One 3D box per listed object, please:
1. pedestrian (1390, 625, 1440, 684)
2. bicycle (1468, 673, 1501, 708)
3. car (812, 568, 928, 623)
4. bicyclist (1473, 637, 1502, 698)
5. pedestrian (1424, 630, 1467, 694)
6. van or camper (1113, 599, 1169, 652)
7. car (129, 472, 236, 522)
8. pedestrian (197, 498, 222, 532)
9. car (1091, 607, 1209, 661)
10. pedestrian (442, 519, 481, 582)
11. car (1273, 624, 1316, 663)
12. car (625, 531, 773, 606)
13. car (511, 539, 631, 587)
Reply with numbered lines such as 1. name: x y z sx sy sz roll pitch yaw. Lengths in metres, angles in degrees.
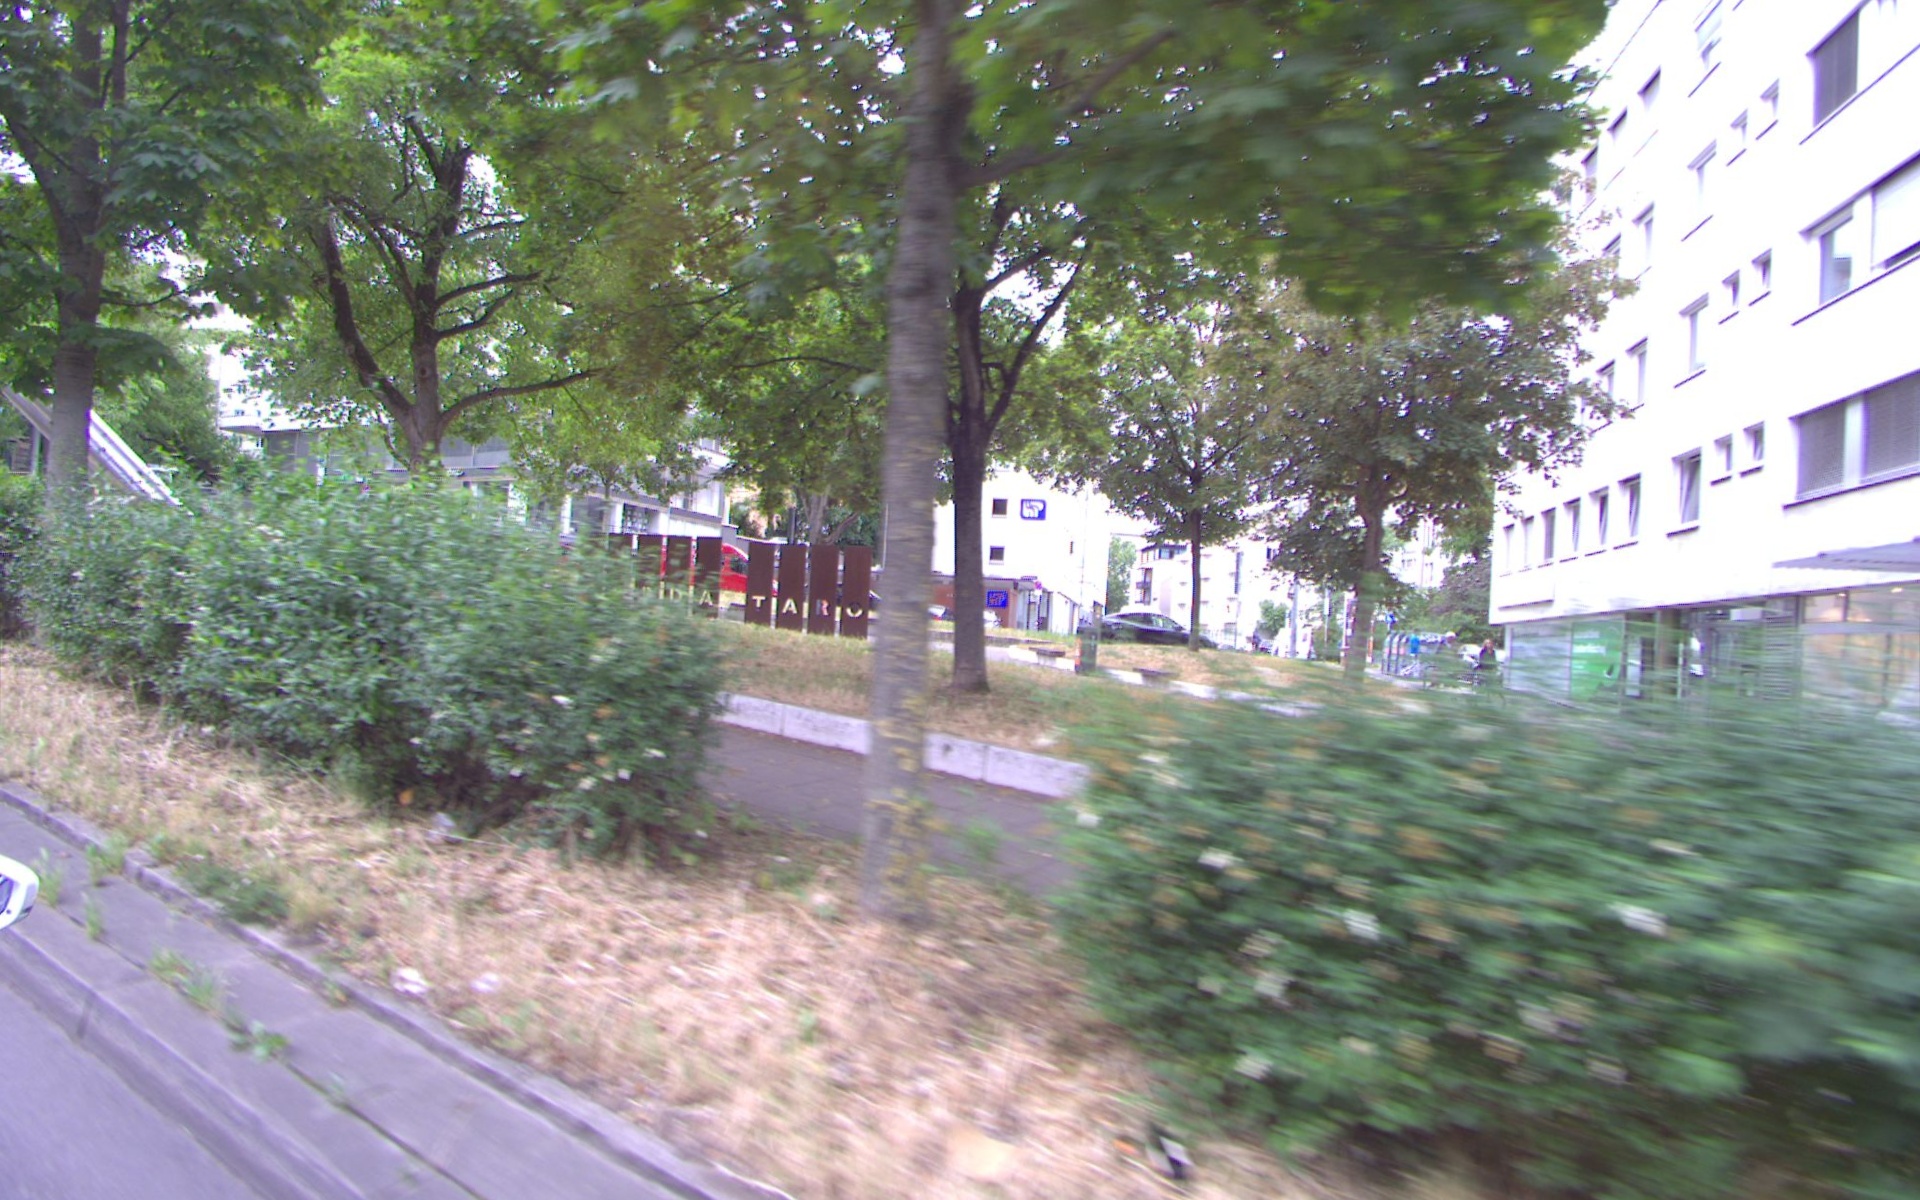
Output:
1. pedestrian: 15.517 1.872 34.322 1.138 1.842 1.027 6 -3 7
2. bicycle: 14.661 2.518 28.133 0.510 0.869 1.543 6 -1 19
3. car: -3.386 -0.159 38.293 4.071 1.524 1.756 6 -4 3
4. bicyclist: 14.727 1.878 28.101 0.504 1.622 0.596 6 0 20
5. pedestrian: 13.997 1.788 29.008 0.861 1.722 0.880 6 0 20
6. van or camper: 9.962 1.455 54.995 2.257 2.254 5.452 5 -4 17
7. car: -43.105 -5.683 55.878 1.964 2.038 4.140 7 0 24
8. pedestrian: -35.607 -4.025 47.728 0.665 1.518 0.560 6 1 6
9. car: 7.095 1.304 37.860 4.071 1.514 1.757 6 -4 4
10. pedestrian: -13.157 -1.296 26.567 0.609 1.561 0.549 7 1 30
11. car: 18.522 2.432 55.855 1.953 1.702 4.008 5 -4 17
12. car: -9.968 -1.179 38.710 4.888 2.050 2.033 7 -4 4
13. car: -14.983 -1.416 38.855 3.848 1.293 1.623 6 -4 4
